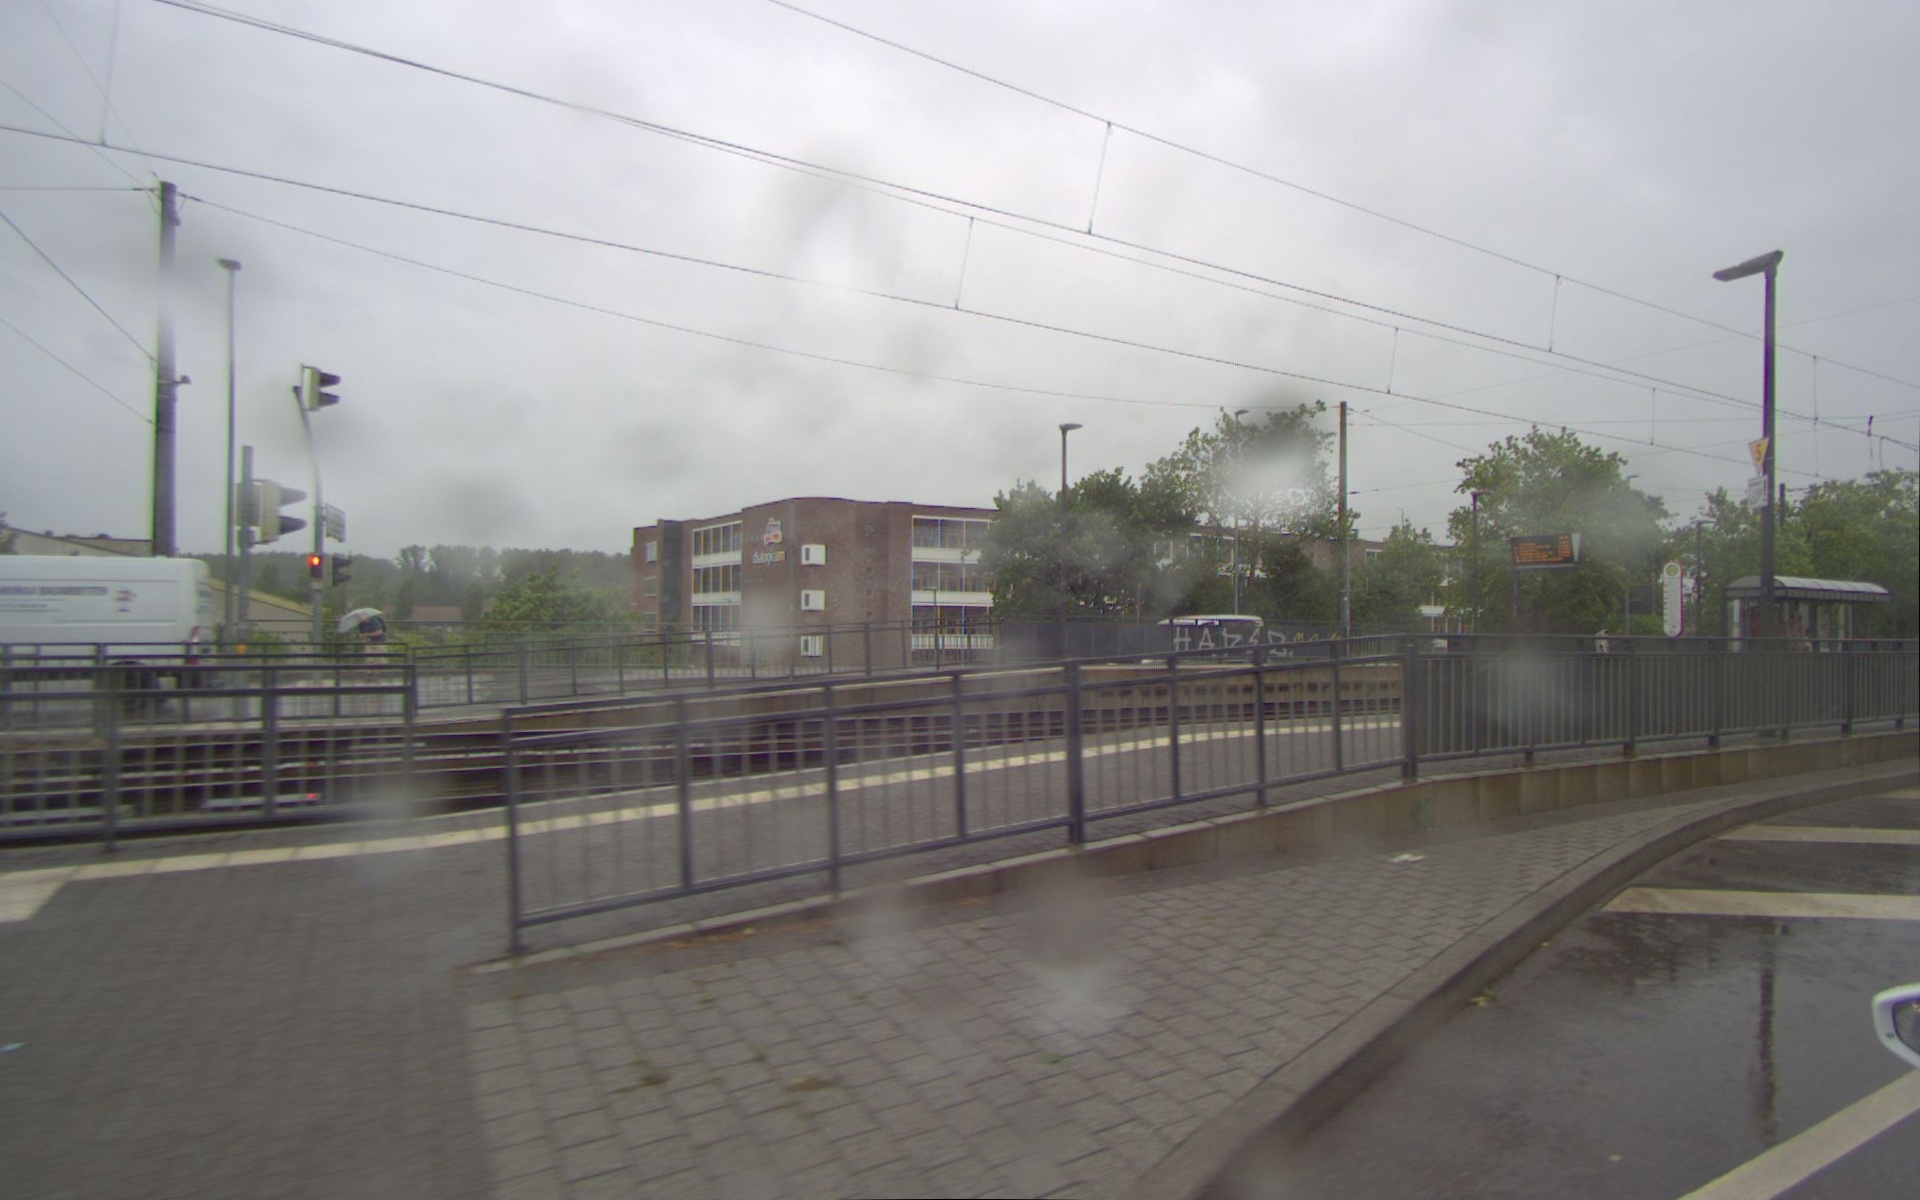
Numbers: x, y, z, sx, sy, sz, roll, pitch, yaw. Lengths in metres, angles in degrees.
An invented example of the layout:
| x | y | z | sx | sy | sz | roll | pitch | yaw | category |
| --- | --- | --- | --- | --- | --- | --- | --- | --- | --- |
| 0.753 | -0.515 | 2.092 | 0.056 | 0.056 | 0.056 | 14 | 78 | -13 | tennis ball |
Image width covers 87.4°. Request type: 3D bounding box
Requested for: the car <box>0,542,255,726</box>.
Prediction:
| x | y | z | sx | sy | sz | roll | pitch | yaw | category |
| --- | --- | --- | --- | --- | --- | --- | --- | --- | --- |
| -14.834 | 0.512 | 15.992 | 5.670 | 2.748 | 2.110 | 2 | -1 | -30 | car |

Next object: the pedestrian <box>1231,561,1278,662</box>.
| x | y | z | sx | sy | sz | roll | pitch | yaw | category |
| --- | --- | --- | --- | --- | --- | --- | --- | --- | --- |
| 12.081 | 0.479 | 41.283 | 1.490 | 4.082 | 1.172 | 2 | -1 | -2 | pedestrian |

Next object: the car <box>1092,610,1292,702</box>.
| x | y | z | sx | sy | sz | roll | pitch | yaw | category |
| --- | --- | --- | --- | --- | --- | --- | --- | --- | --- |
| 5.712 | 1.314 | 24.596 | 4.698 | 2.040 | 1.984 | 2 | 0 | -31 | car |

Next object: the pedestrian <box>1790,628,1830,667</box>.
| x | y | z | sx | sy | sz | roll | pitch | yaw | category |
| --- | --- | --- | --- | --- | --- | --- | --- | --- | --- |
| 30.310 | 1.680 | 35.824 | 0.848 | 1.334 | 0.827 | 1 | 0 | -30 | pedestrian |

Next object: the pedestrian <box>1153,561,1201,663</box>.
| x | y | z | sx | sy | sz | roll | pitch | yaw | category |
| --- | --- | --- | --- | --- | --- | --- | --- | --- | --- |
| 8.833 | 0.496 | 40.918 | 1.508 | 4.082 | 1.158 | 2 | -1 | -41 | pedestrian |

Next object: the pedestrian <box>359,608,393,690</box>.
| x | y | z | sx | sy | sz | roll | pitch | yaw | category |
| --- | --- | --- | --- | --- | --- | --- | --- | --- | --- |
| -14.880 | 1.230 | 25.603 | 0.688 | 2.040 | 0.696 | 1 | -1 | -29 | pedestrian |
